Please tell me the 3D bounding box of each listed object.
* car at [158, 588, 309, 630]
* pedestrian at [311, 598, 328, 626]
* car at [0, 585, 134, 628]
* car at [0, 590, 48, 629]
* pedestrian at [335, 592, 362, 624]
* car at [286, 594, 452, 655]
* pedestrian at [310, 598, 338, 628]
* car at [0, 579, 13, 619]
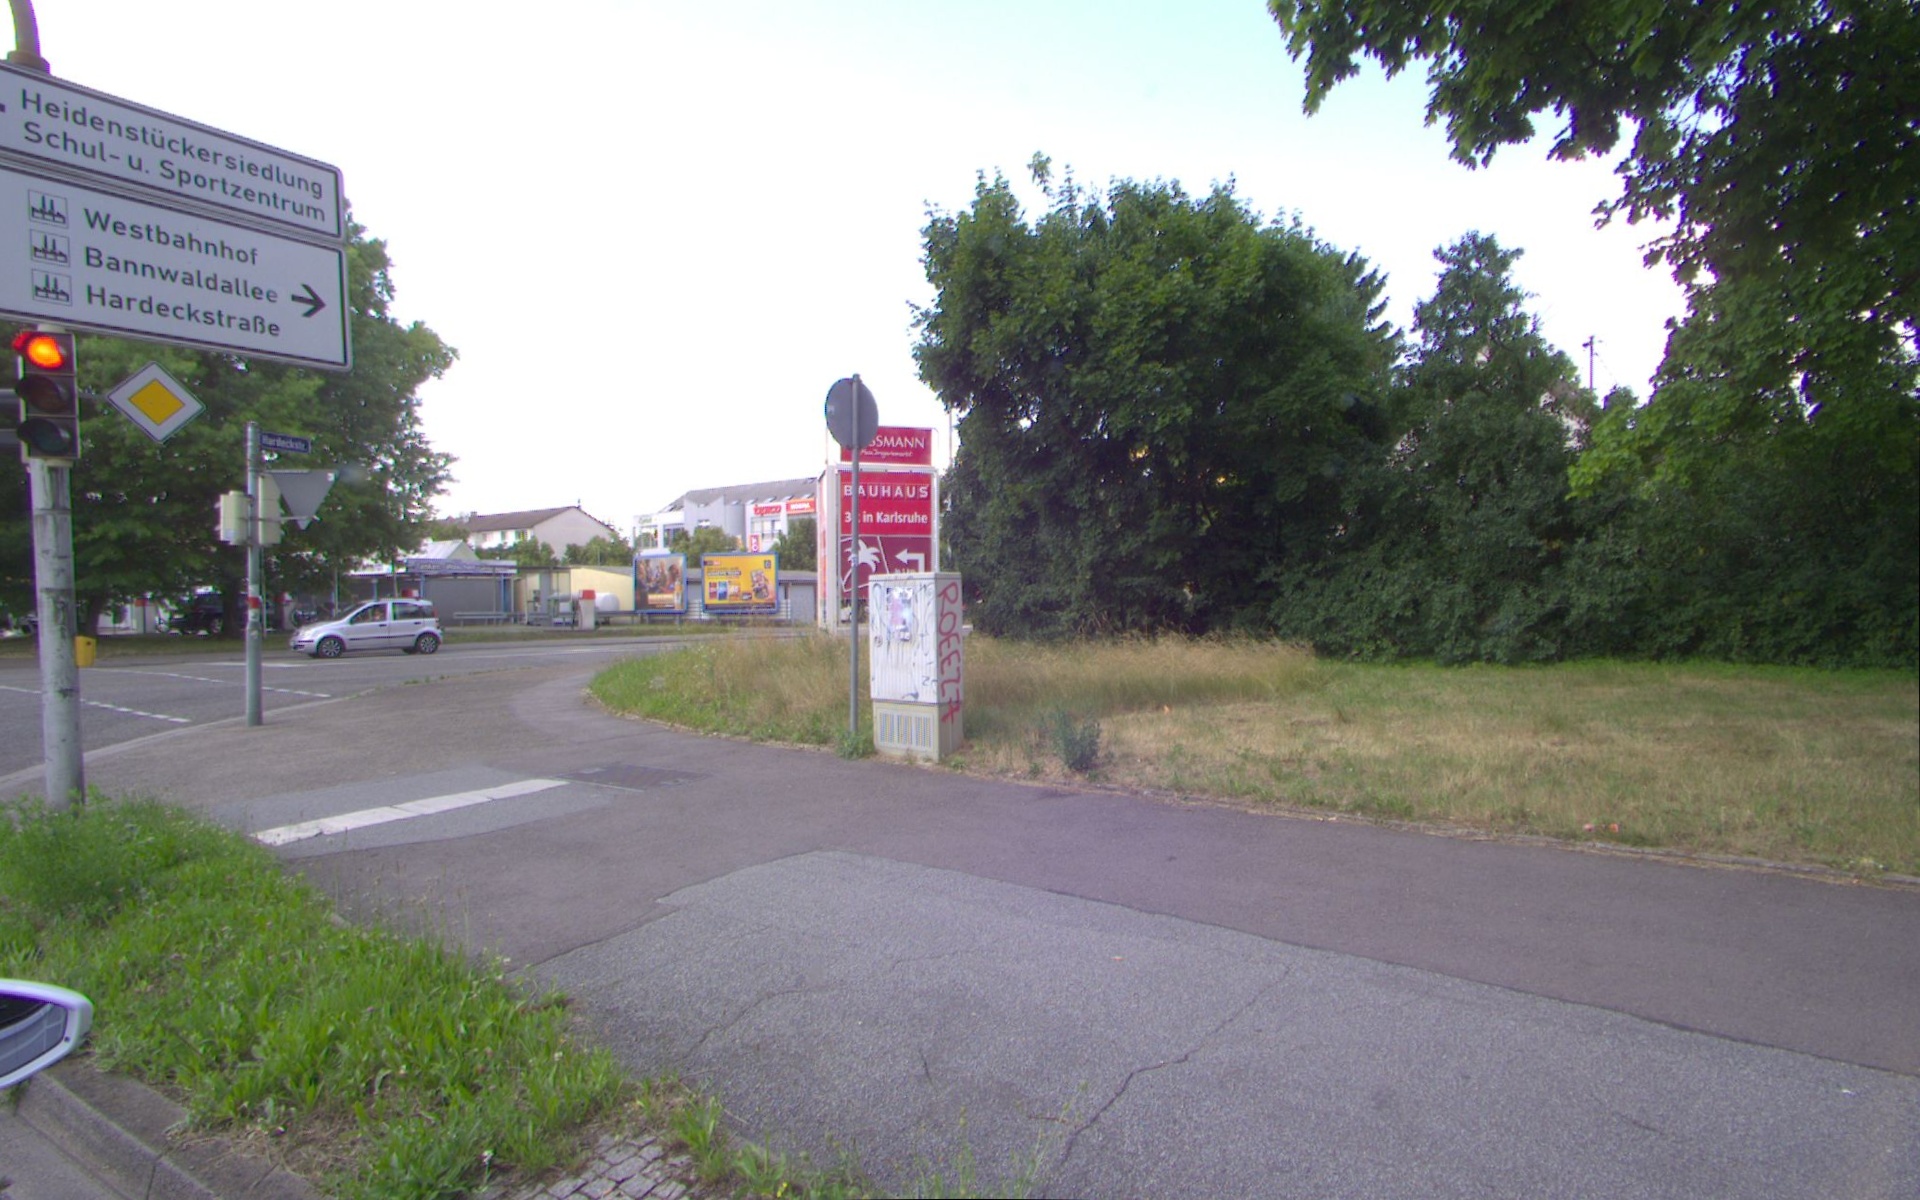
[{"bbox_3d":[-29.488,0.353,40.832,2.117,1.617,4.552,-1,0,22],"label":"car"},{"bbox_3d":[-36.402,0.672,56.922,0.616,1.565,0.651,0,1,39],"label":"pedestrian"},{"bbox_3d":[-40.965,0.271,45.255,2.117,1.851,5.184,-1,0,22],"label":"car"},{"bbox_3d":[-50.141,0.503,50.905,2.121,2.031,5.174,0,0,29],"label":"car"},{"bbox_3d":[-24.484,0.334,40.112,0.752,1.271,0.645,0,-1,-12],"label":"pedestrian"},{"bbox_3d":[-15.798,0.614,26.881,1.543,1.537,3.574,0,0,45],"label":"car"},{"bbox_3d":[-25.268,0.520,39.783,0.752,1.205,0.645,0,-1,-12],"label":"pedestrian"},{"bbox_3d":[-61.271,-0.021,62.403,5.665,2.486,1.747,-1,1,31],"label":"car"}]
